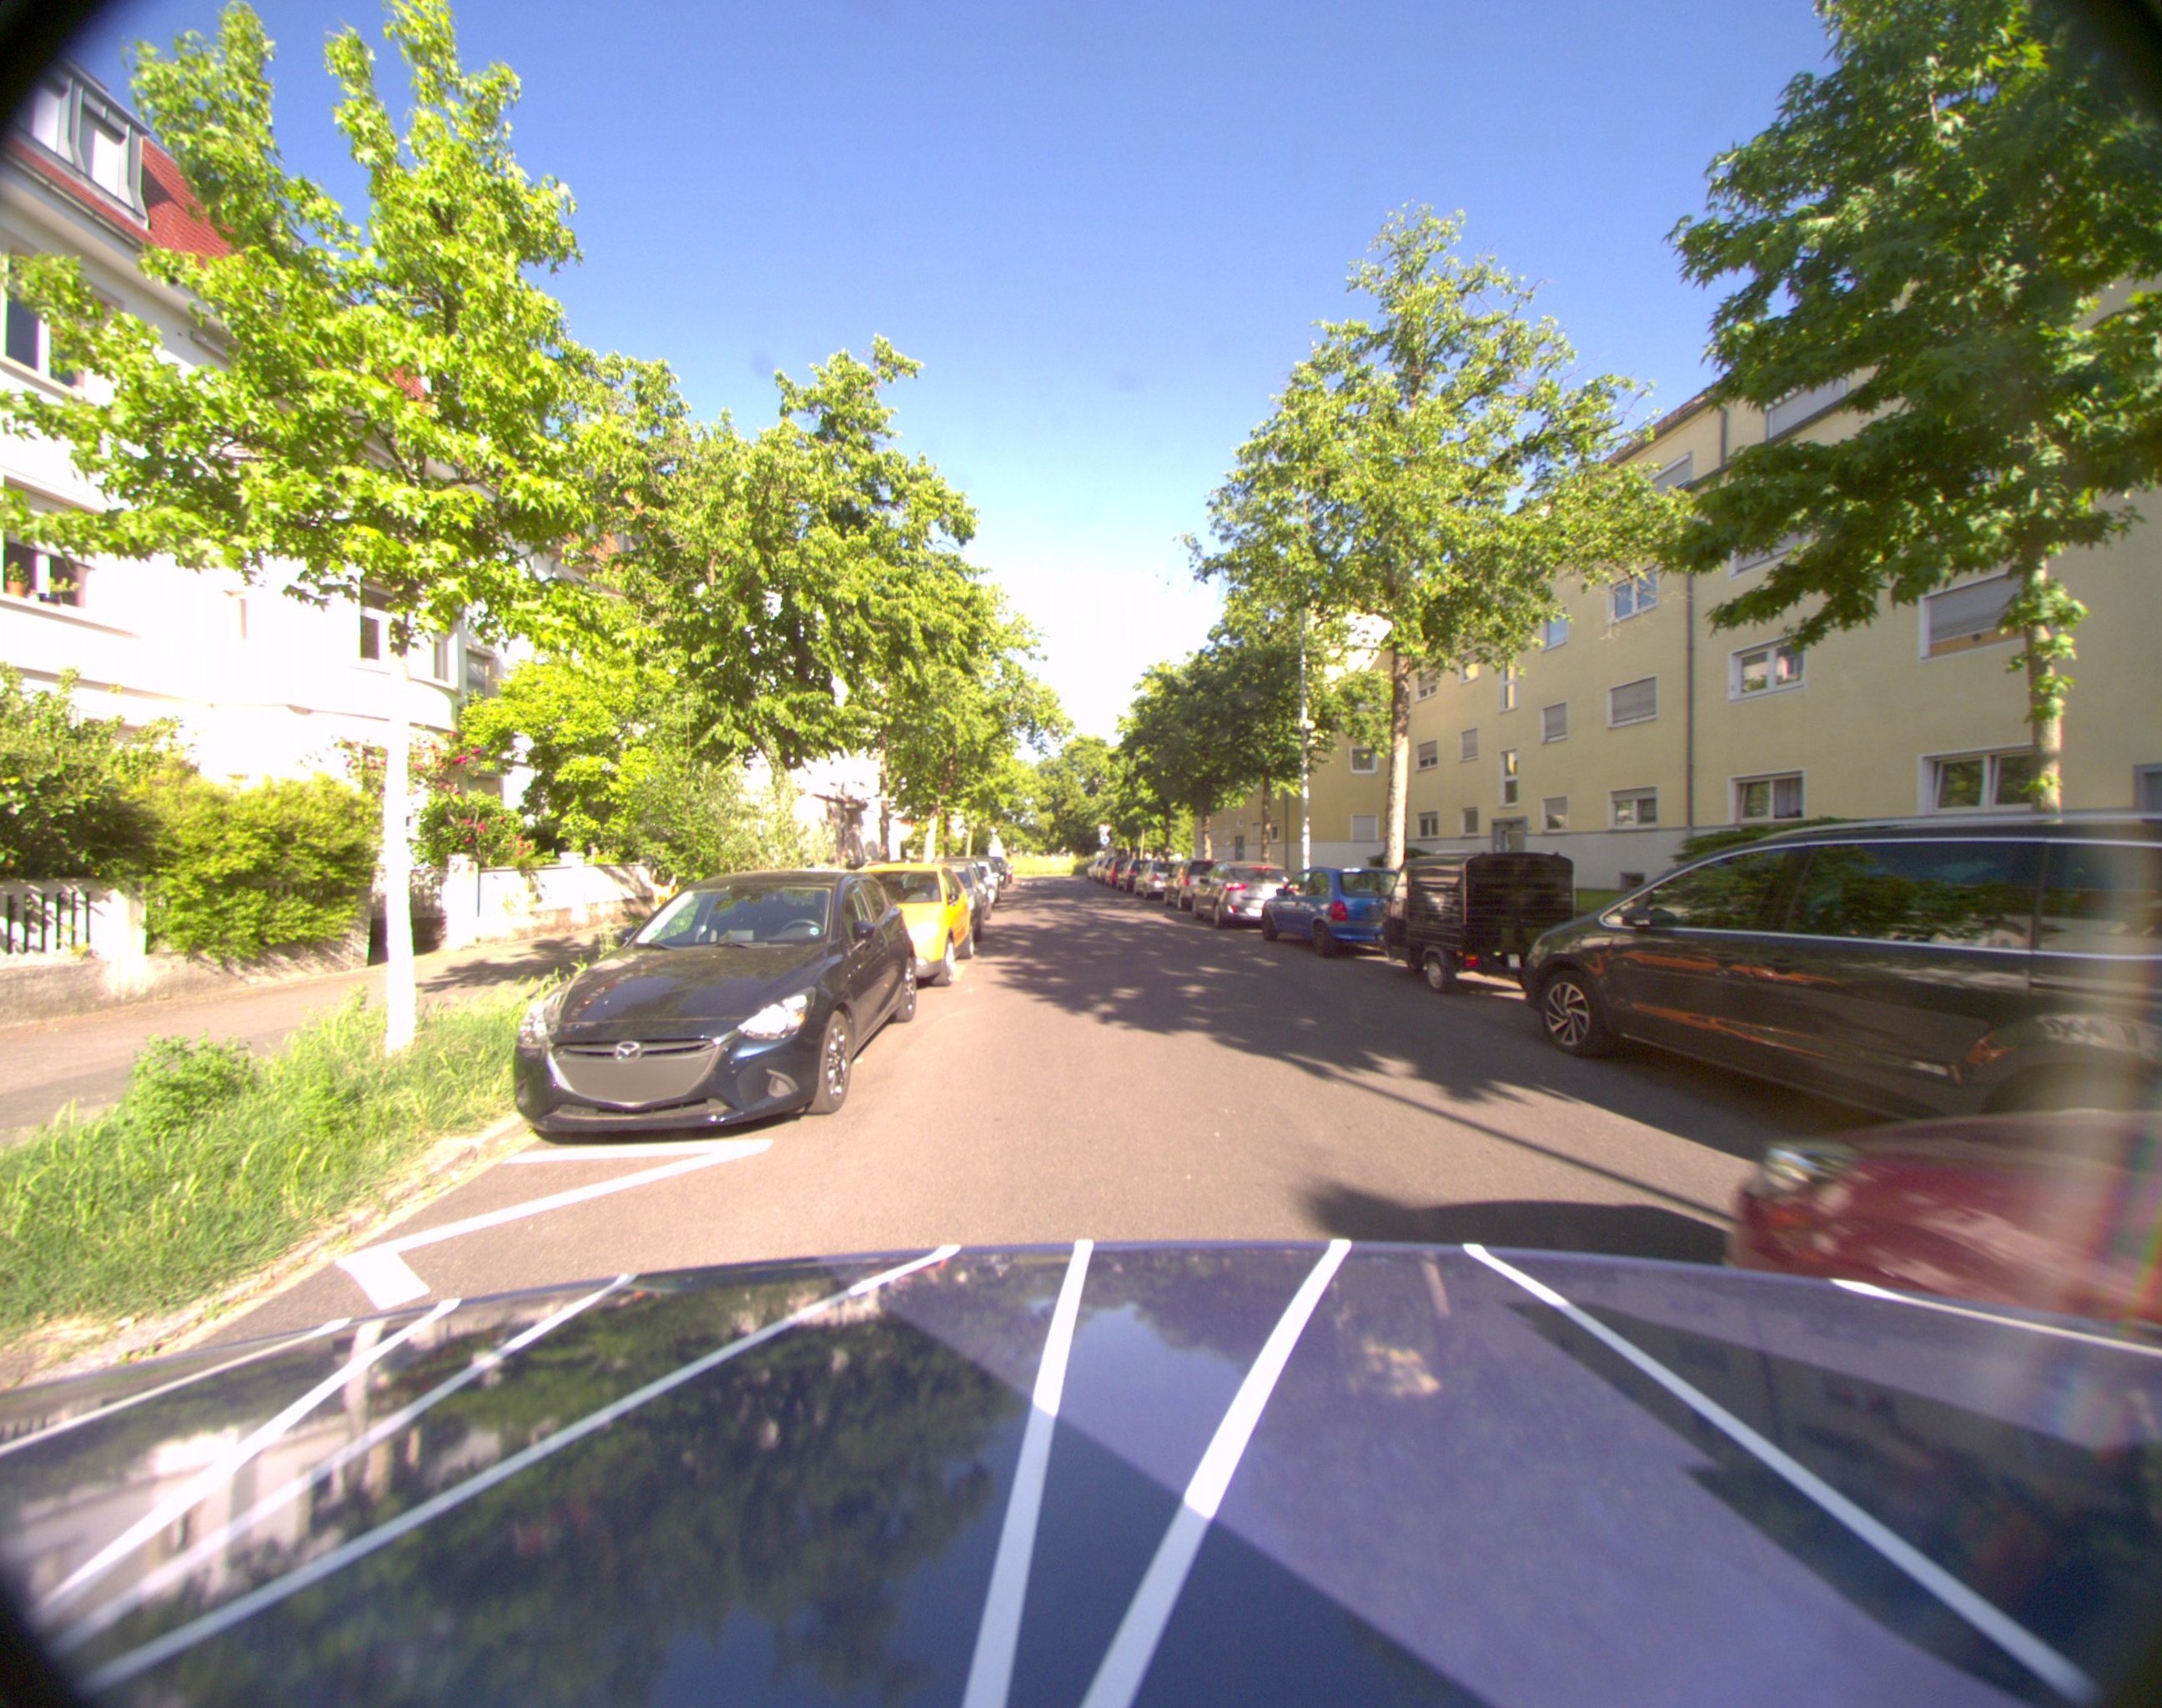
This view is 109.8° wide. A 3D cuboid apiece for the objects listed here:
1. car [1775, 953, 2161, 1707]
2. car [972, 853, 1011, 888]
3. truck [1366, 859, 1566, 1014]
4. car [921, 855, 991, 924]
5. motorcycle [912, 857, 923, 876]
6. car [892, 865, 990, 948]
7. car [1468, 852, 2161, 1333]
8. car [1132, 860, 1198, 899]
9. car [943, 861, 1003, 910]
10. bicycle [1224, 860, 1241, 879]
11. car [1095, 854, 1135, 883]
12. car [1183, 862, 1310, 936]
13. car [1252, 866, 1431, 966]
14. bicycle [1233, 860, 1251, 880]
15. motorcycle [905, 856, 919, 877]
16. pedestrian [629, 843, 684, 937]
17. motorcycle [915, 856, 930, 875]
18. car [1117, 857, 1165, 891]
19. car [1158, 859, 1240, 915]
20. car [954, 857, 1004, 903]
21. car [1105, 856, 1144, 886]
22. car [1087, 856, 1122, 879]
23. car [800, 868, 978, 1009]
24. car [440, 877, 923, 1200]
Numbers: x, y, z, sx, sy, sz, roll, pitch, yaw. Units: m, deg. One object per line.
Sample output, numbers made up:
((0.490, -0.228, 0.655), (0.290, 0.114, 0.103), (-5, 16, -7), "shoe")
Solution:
((2.452, 0.937, 0.155), (1.510, 1.417, 3.175), (0, 0, -8), "car")
((-4.541, 0.798, 38.928), (1.786, 1.688, 4.296), (0, 0, -4), "car")
((4.407, 0.855, 9.011), (1.087, 1.568, 2.431), (0, 0, -2), "truck")
((-3.282, 0.877, 20.478), (1.654, 1.646, 3.844), (-1, 0, -7), "car")
((-11.264, 0.833, 52.451), (0.658, 1.272, 1.798), (1, 0, -10), "motorcycle")
((-2.712, 0.957, 15.387), (1.654, 1.420, 3.610), (0, 0, -6), "car")
((4.591, 0.864, 4.384), (1.855, 1.670, 4.974), (2, 0, -4), "car")
((3.138, 0.929, 29.387), (1.750, 1.360, 4.672), (1, 0, -4), "car")
((-3.489, 0.968, 25.117), (1.634, 1.416, 4.366), (0, 0, -4), "car")
((8.646, 0.867, 43.433), (0.542, 1.021, 1.748), (0, 0, -2), "bicycle")
((1.916, 0.804, 44.293), (1.696, 1.556, 4.733), (0, 0, -5), "car")
((3.698, 0.936, 17.850), (1.796, 1.436, 4.687), (1, 0, -2), "car")
((4.255, 0.934, 13.034), (1.525, 1.387, 3.725), (0, 0, -5), "car")
((8.780, 0.871, 41.506), (0.537, 1.021, 1.748), (0, 0, -2), "bicycle")
((-11.146, 0.790, 50.093), (0.540, 1.353, 2.088), (-1, 0, -4), "motorcycle")
((-8.182, 0.675, 14.672), (0.624, 1.764, 0.799), (0, 1, -4), "pedestrian")
((-11.304, 0.815, 54.322), (0.974, 1.321, 1.851), (-1, 0, -9), "motorcycle")
((2.684, 0.884, 34.844), (1.669, 1.450, 3.931), (0, 0, -4), "car")
((3.523, 0.940, 23.464), (1.625, 1.506, 4.267), (2, 0, -3), "car")
((-3.900, 0.946, 29.694), (1.689, 1.579, 4.533), (-3, 0, -5), "car")
((2.234, 0.850, 39.722), (1.669, 1.477, 3.255), (0, 0, -4), "car")
((1.531, 0.879, 50.700), (1.765, 1.433, 3.991), (0, 0, -7), "car")
((-2.363, 0.953, 10.338), (1.641, 1.446, 4.098), (0, 0, -4), "car")
((-2.364, 0.958, 5.765), (1.705, 1.440, 4.081), (0, 0, -3), "car")
